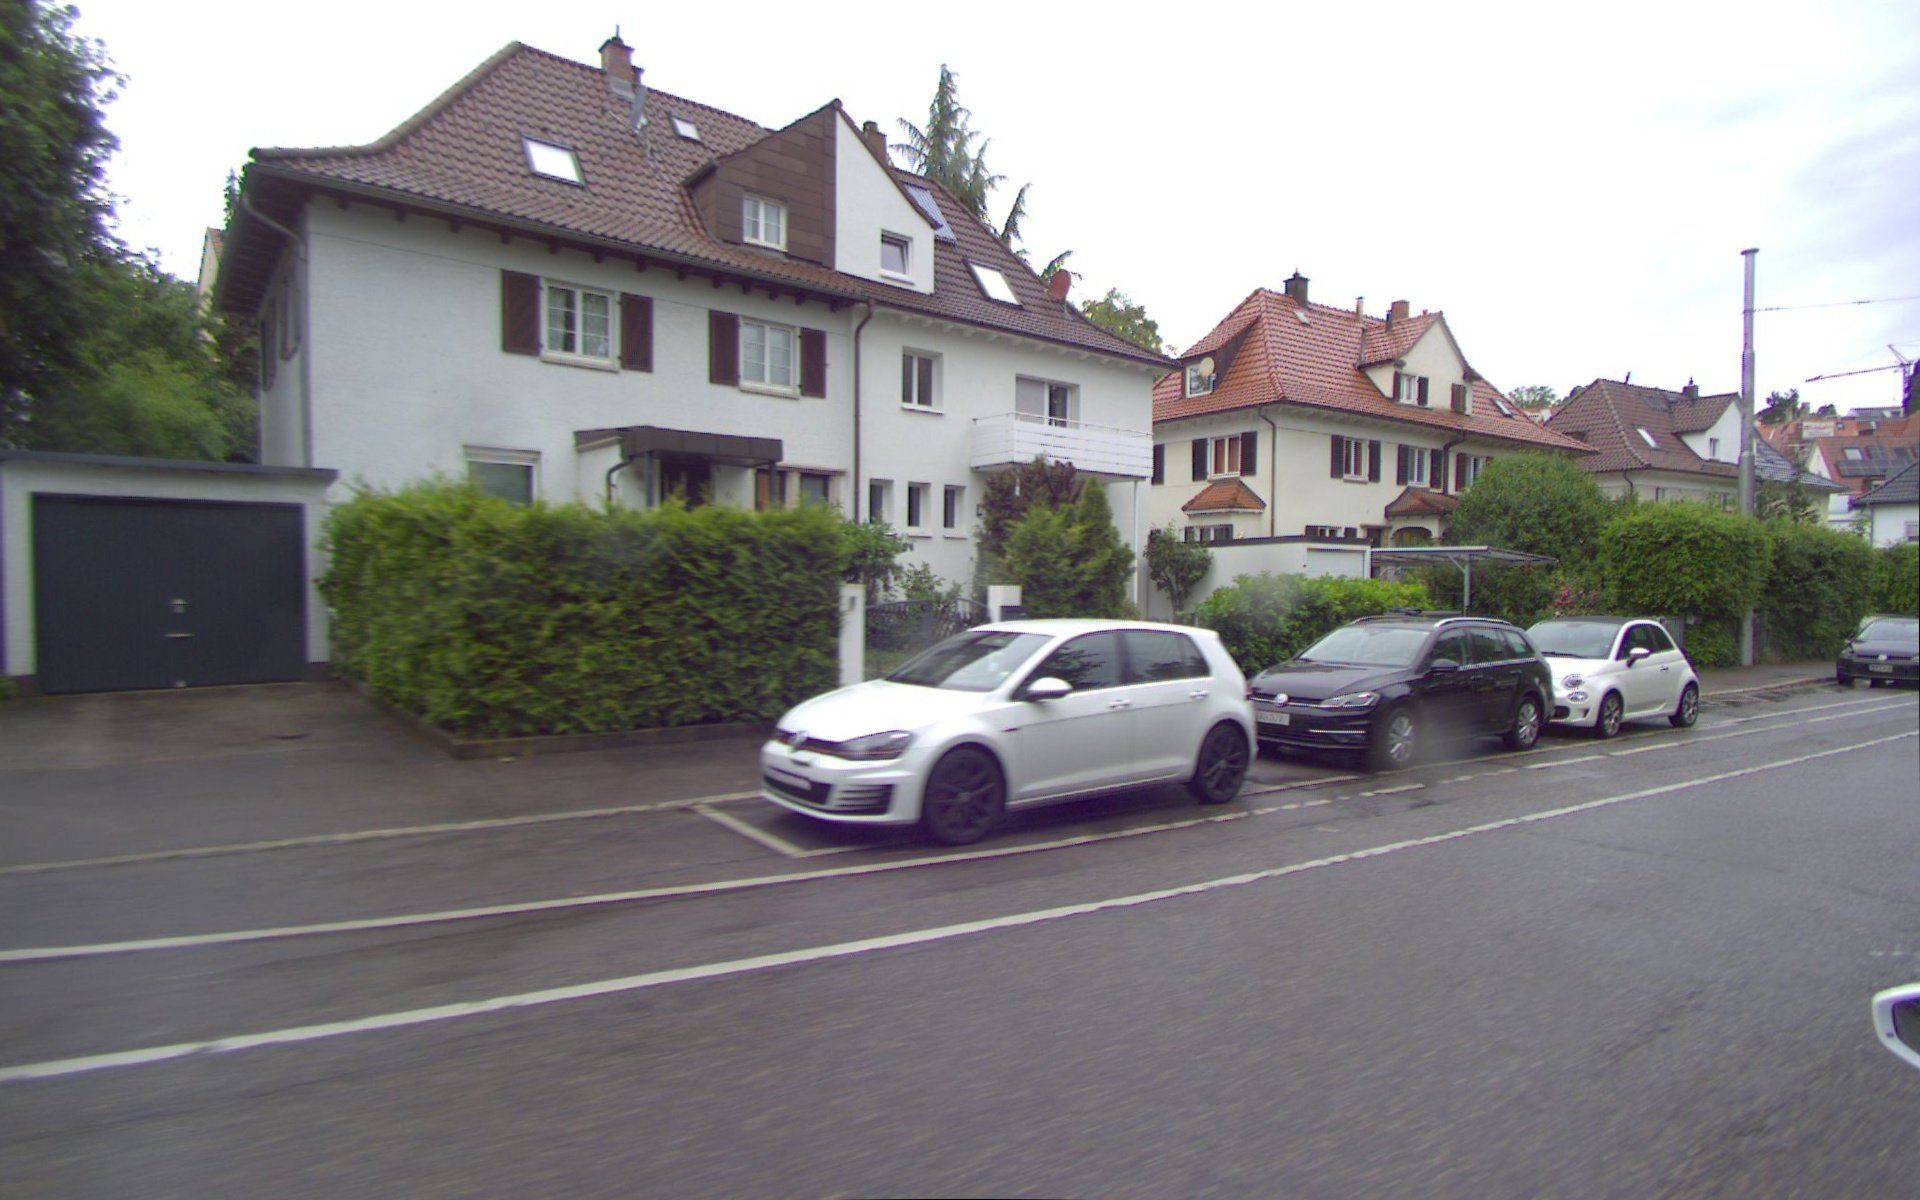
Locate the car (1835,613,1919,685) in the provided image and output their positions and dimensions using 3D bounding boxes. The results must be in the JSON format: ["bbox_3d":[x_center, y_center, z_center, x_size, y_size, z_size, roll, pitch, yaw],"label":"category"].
[{"bbox_3d":[21.061,1.034,22.289,4.176,1.437,1.675,0,0,-37],"label":"car"}]

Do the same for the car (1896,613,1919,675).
[{"bbox_3d":[24.449,1.072,24.669,2.998,1.473,1.510,0,0,-34],"label":"car"}]

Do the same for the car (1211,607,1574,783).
[{"bbox_3d":[4.911,0.899,11.166,4.380,1.545,1.686,1,2,-36],"label":"car"}]

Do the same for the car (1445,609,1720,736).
[{"bbox_3d":[8.615,0.914,13.863,3.668,1.488,1.690,1,1,-31],"label":"car"}]

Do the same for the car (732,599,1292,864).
[{"bbox_3d":[0.555,0.771,7.836,4.241,1.441,1.720,-1,3,-36],"label":"car"}]
